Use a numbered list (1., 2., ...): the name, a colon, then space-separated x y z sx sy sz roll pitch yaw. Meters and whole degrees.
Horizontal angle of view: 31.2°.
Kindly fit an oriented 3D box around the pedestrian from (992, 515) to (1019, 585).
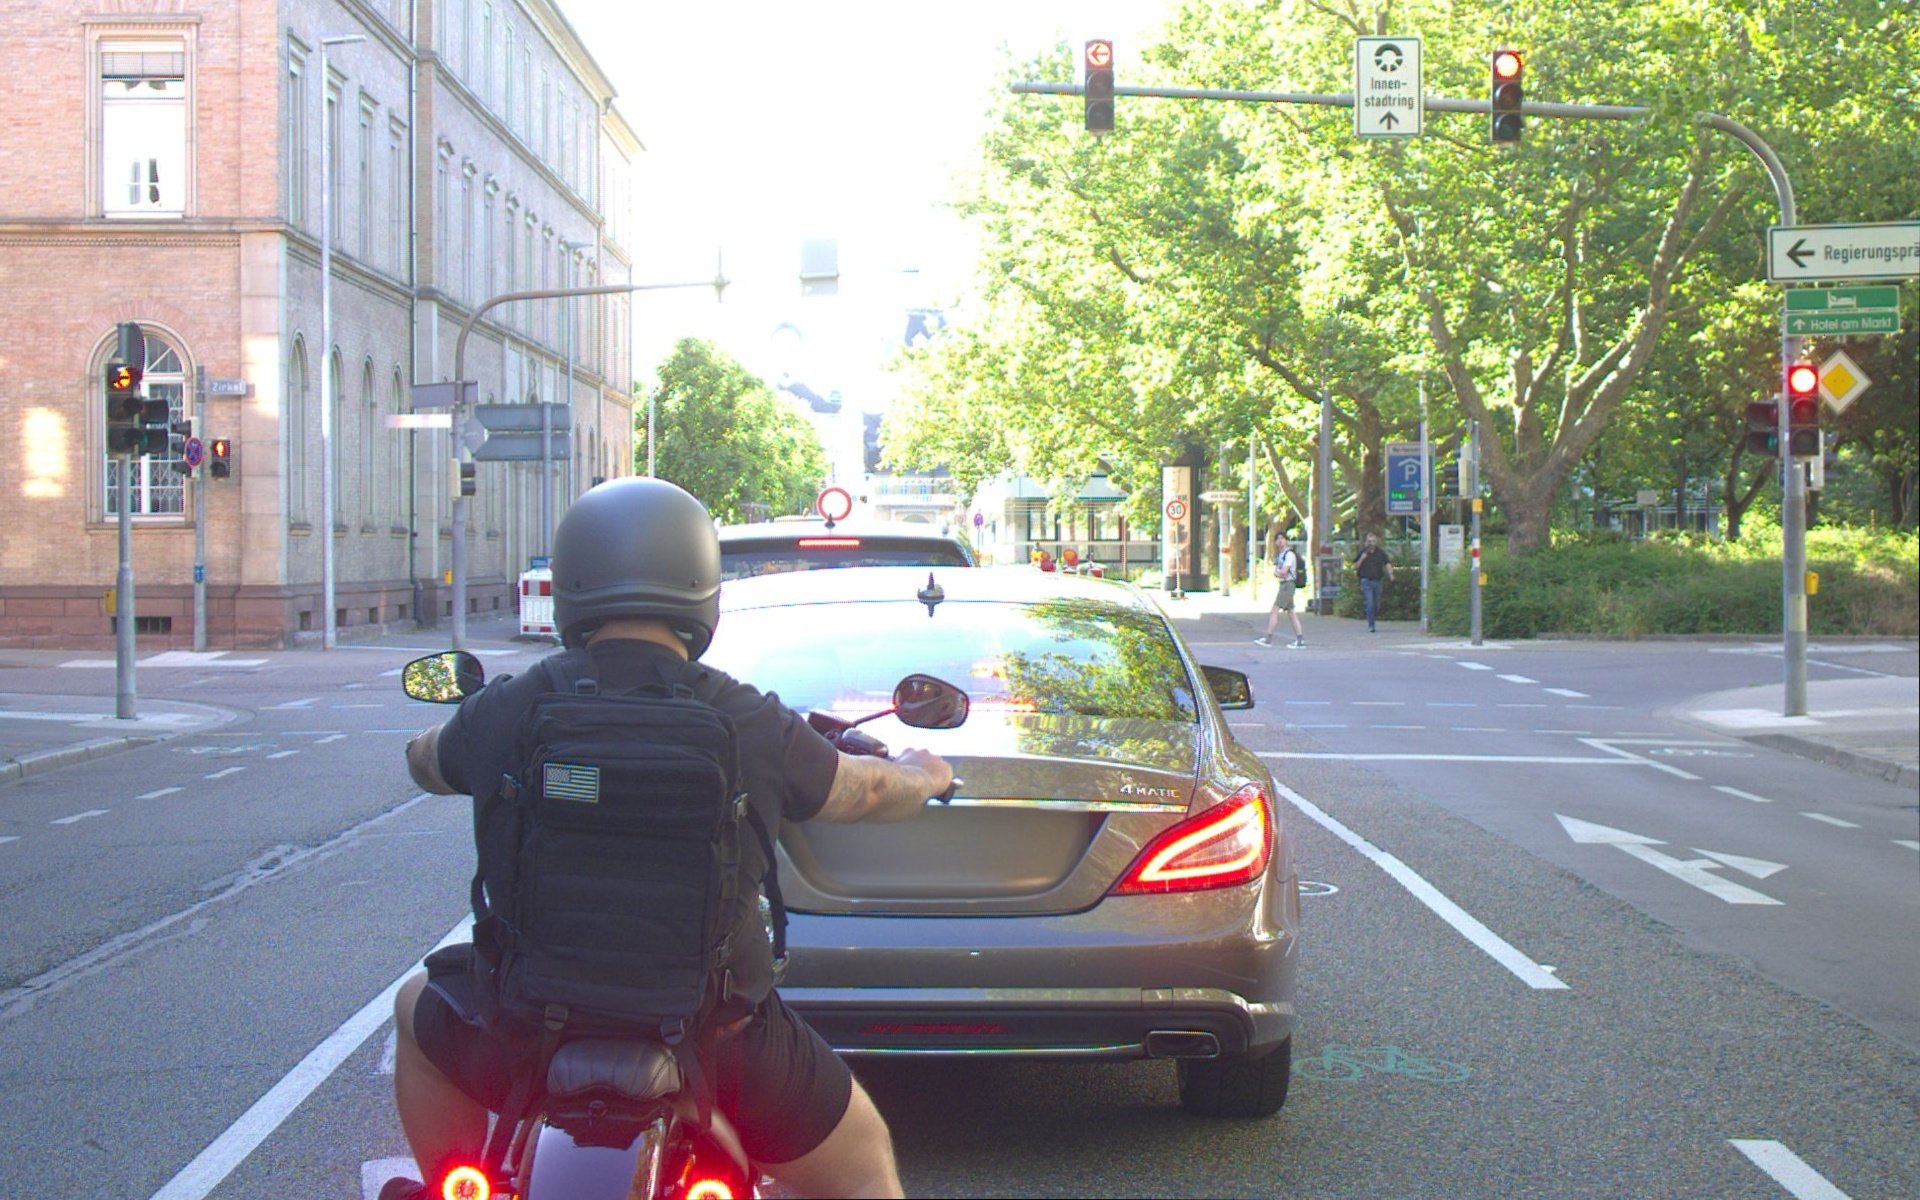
1. pedestrian: 1.331 -1.459 101.113 0.764 2.044 0.712 1 0 -1

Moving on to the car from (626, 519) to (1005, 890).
1. car: -0.641 0.411 16.741 1.621 1.588 4.000 0 1 -1

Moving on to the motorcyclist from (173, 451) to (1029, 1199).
1. motorcyclist: -0.499 0.596 5.322 1.149 1.593 1.288 1 0 -1

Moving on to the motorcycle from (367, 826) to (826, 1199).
1. motorcycle: -0.499 0.928 5.305 0.513 0.999 2.013 1 1 -1

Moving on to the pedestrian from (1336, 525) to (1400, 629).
1. pedestrian: 7.551 -0.427 63.629 0.749 1.903 0.926 1 0 -28

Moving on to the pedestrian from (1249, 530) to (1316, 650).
1. pedestrian: 4.994 -0.163 53.200 1.002 1.820 1.076 1 0 6

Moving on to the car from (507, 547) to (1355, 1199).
1. car: -0.087 0.596 9.625 1.882 1.444 3.820 1 1 -1
